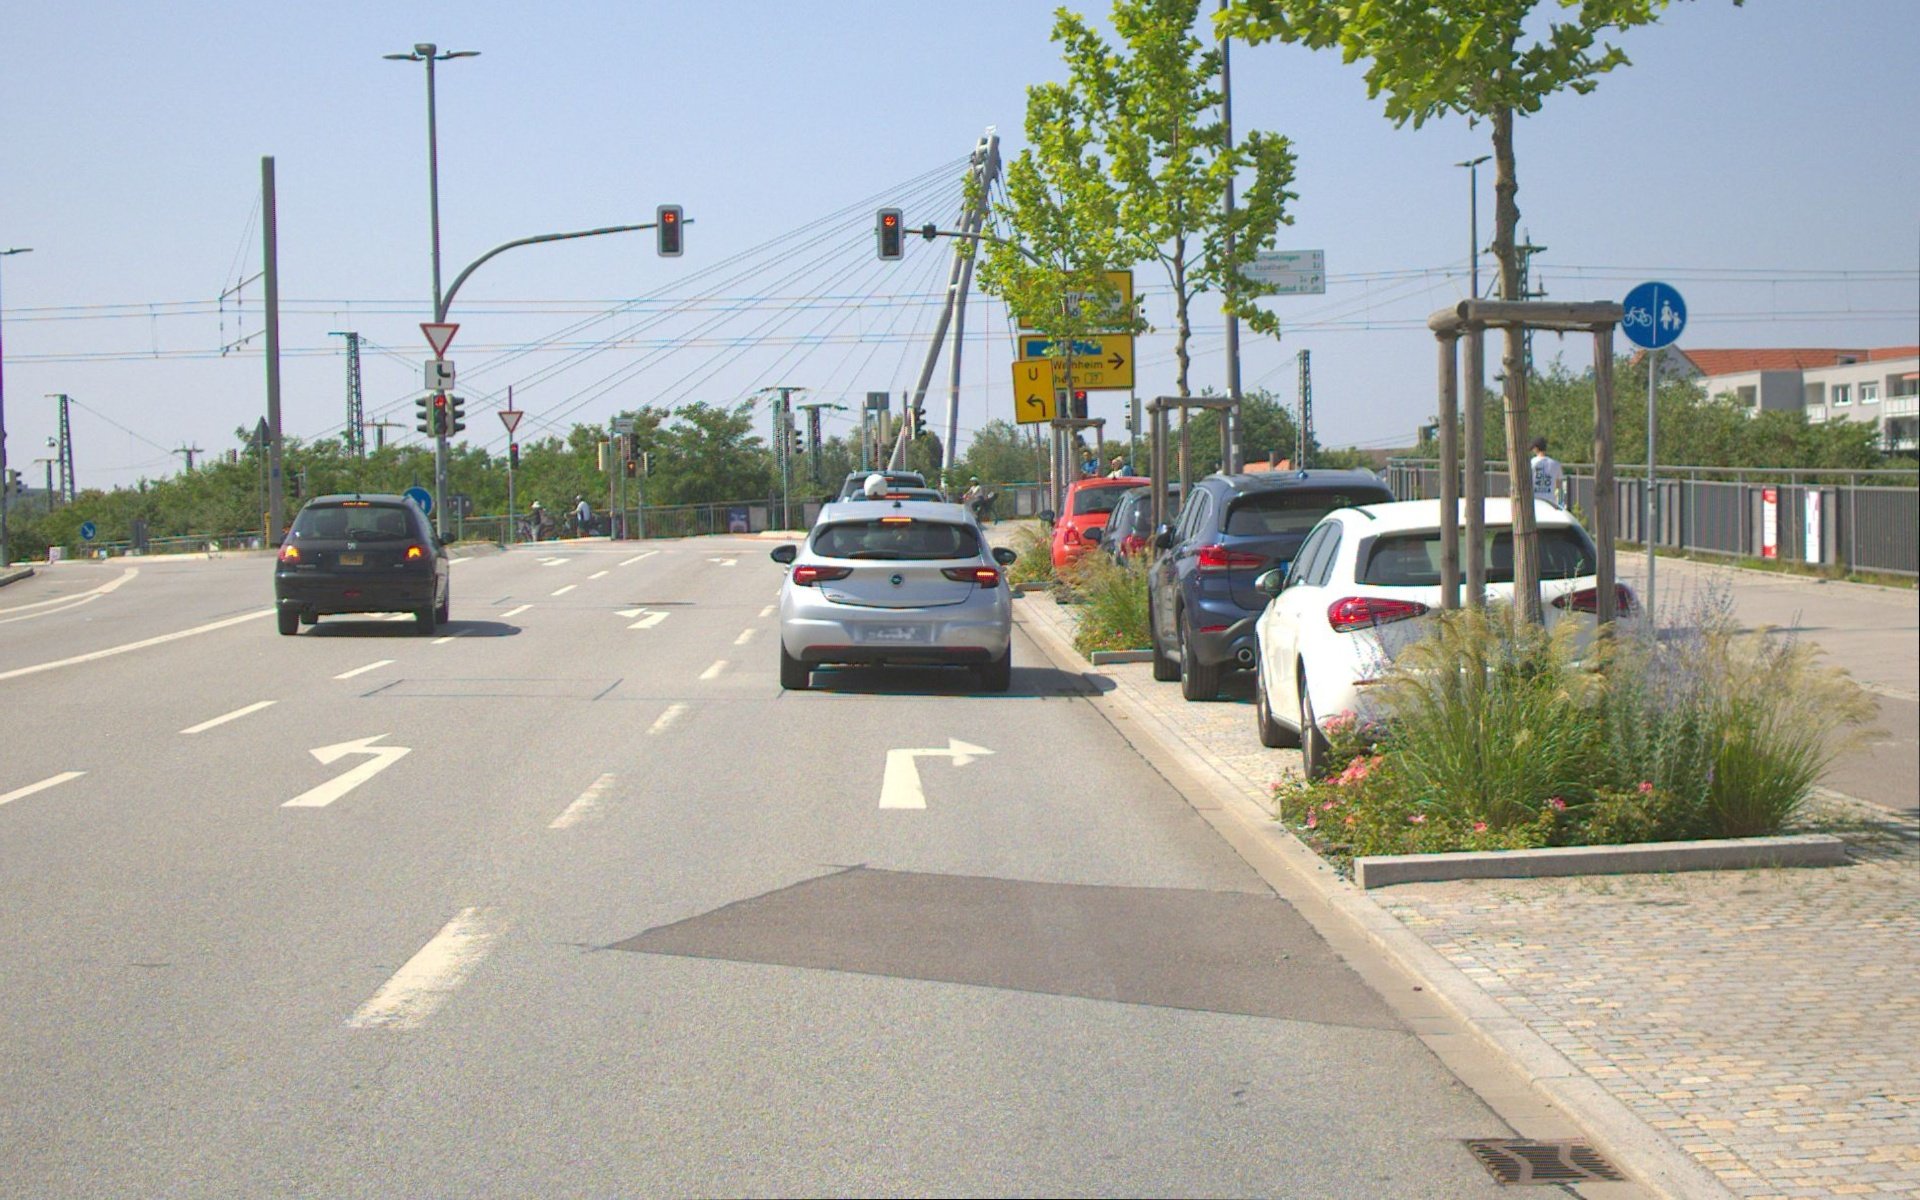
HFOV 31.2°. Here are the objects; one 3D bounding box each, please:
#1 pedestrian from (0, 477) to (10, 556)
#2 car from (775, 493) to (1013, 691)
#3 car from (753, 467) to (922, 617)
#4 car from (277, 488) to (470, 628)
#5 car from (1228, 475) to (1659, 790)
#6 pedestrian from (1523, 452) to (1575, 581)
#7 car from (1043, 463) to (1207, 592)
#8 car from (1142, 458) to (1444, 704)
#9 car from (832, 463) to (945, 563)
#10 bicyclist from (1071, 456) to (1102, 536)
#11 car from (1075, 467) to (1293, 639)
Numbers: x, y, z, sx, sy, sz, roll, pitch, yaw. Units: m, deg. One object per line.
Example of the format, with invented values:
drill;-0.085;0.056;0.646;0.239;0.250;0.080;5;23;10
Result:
pedestrian;-20.140;-1.725;71.047;0.844;1.641;0.828;-1;2;-6
car;-0.524;-0.119;27.651;1.778;1.437;4.001;0;2;-1
car;-1.340;-0.704;38.814;1.778;1.563;4.001;-1;2;-1
car;-6.181;-0.474;36.538;1.619;1.411;3.728;0;1;-3
car;2.530;0.096;18.898;1.696;1.470;4.206;-2;2;0
pedestrian;7.214;-1.017;42.097;0.533;1.570;0.524;0;0;-1
car;2.041;-0.934;43.559;1.778;1.498;4.001;-2;2;-1
car;2.385;-0.196;25.403;1.822;1.611;3.611;-3;2;0
car;-1.174;-1.471;57.159;1.778;1.563;4.001;-1;2;-1
bicyclist;2.631;-2.160;71.462;0.592;1.638;0.313;0;0;-6
car;2.223;-0.510;35.016;1.778;1.498;4.001;-5;2;-1
